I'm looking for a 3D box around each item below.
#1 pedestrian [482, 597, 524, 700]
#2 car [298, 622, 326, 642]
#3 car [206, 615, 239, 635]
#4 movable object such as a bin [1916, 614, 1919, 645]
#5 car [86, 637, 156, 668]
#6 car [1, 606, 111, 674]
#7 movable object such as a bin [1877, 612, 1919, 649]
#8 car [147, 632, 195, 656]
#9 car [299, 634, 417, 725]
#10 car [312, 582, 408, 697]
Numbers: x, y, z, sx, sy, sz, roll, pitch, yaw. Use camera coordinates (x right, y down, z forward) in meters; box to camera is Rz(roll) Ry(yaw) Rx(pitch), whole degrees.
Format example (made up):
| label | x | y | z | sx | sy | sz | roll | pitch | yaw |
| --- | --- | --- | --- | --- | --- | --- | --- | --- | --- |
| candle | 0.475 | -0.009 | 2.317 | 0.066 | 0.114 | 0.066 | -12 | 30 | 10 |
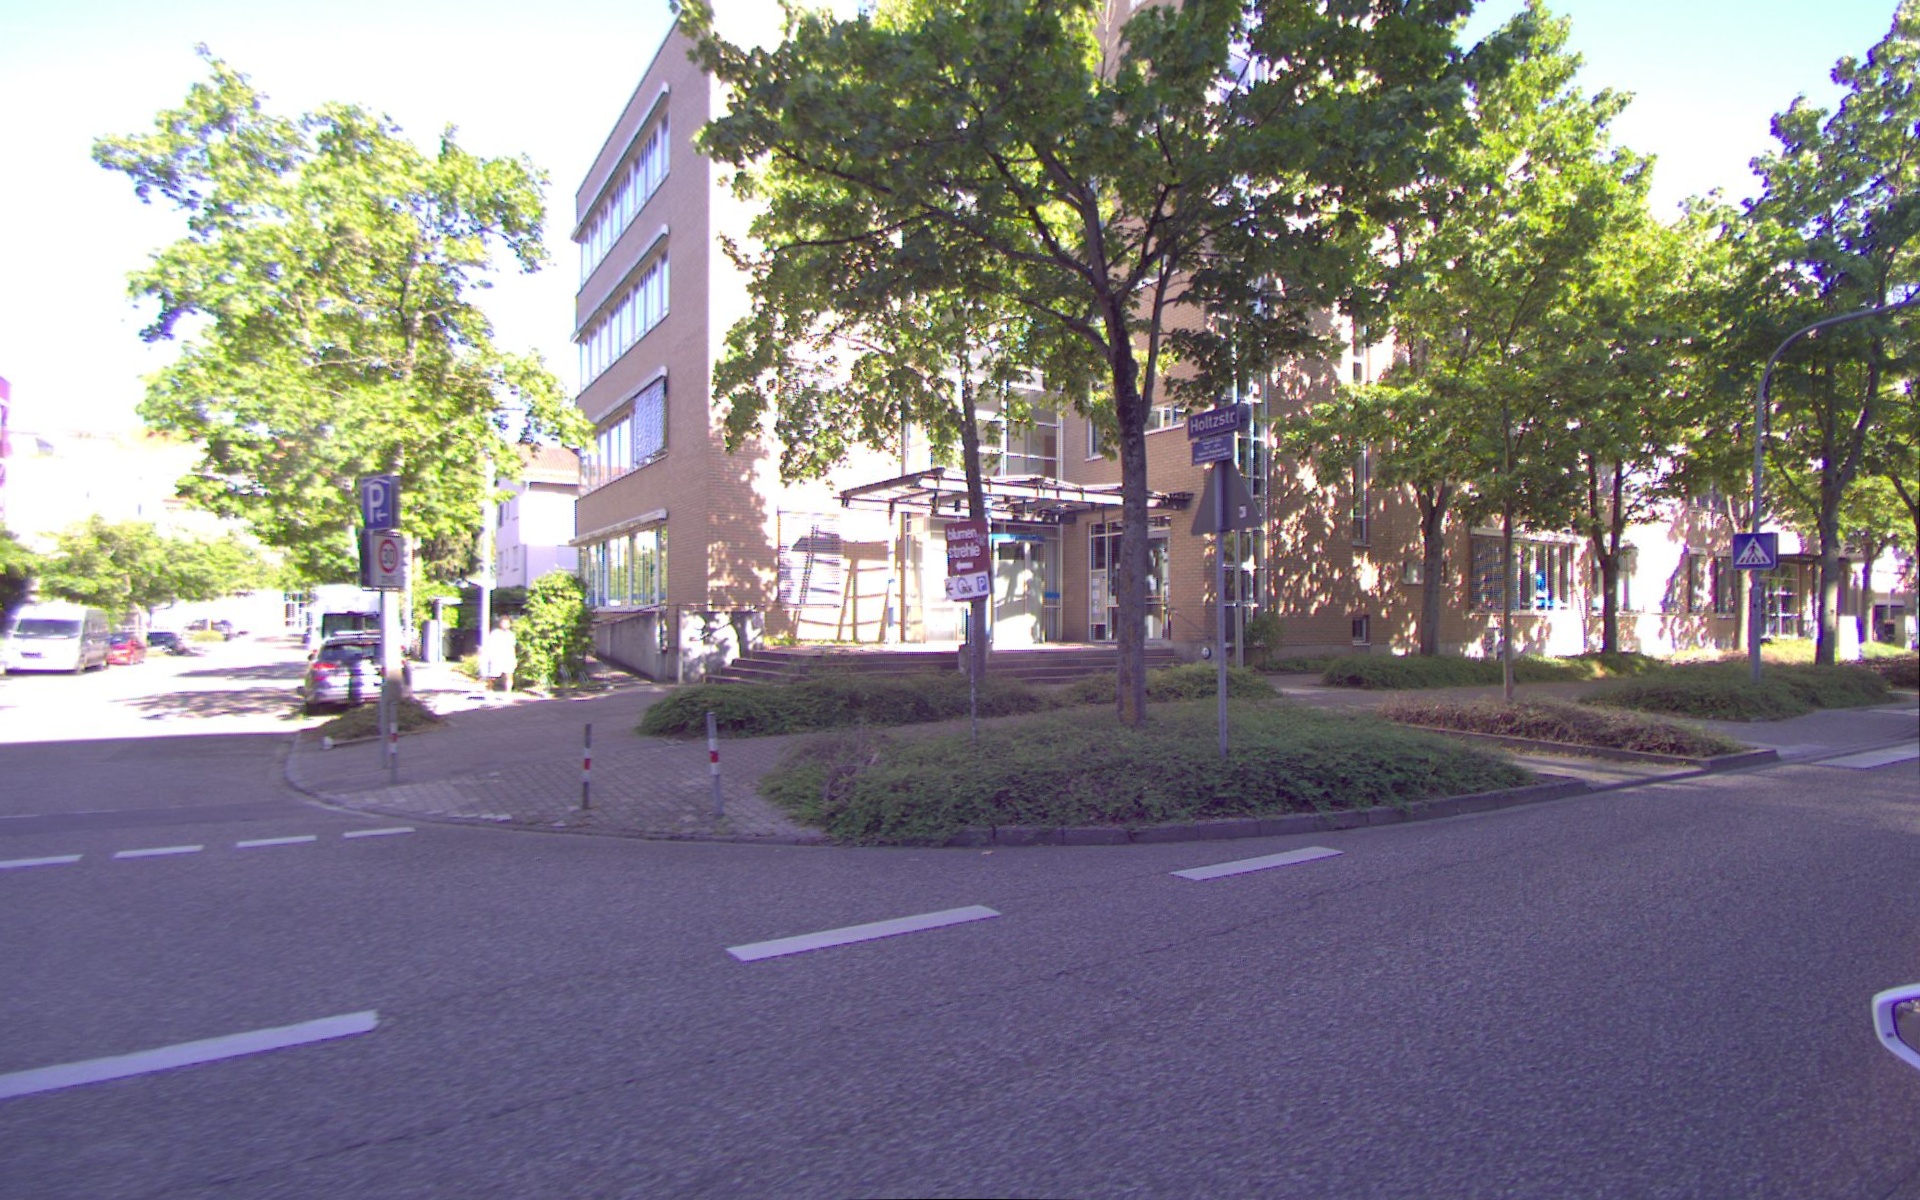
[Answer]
| label | x | y | z | sx | sy | sz | roll | pitch | yaw |
| --- | --- | --- | --- | --- | --- | --- | --- | --- | --- |
| pedestrian | -8.833 | 0.936 | 19.406 | 0.664 | 1.943 | 0.619 | 1 | -2 | -31 |
| car | -53.688 | 2.672 | 83.257 | 1.839 | 1.575 | 3.660 | 1 | -2 | -31 |
| car | -64.737 | 2.216 | 88.243 | 1.755 | 1.695 | 3.971 | 1 | -2 | -28 |
| movable object such as a bin | 51.184 | 1.556 | 52.900 | 1.433 | 1.641 | 1.133 | 1 | -1 | -45 |
| car | -38.267 | 2.360 | 45.903 | 1.827 | 1.349 | 4.047 | 1 | -2 | -31 |
| car | -32.490 | 1.391 | 36.263 | 2.061 | 2.300 | 4.684 | 1 | -1 | -31 |
| movable object such as a bin | 47.128 | 1.504 | 50.163 | 1.645 | 1.820 | 1.591 | 0 | -1 | -31 |
| car | -46.419 | 2.570 | 59.146 | 1.750 | 1.349 | 4.047 | 1 | -2 | -31 |
| car | -12.194 | 1.492 | 20.280 | 1.828 | 1.528 | 4.682 | 1 | -1 | -33 |
| car | -15.353 | 1.013 | 25.601 | 1.903 | 2.602 | 5.431 | 1 | -2 | -33 |
